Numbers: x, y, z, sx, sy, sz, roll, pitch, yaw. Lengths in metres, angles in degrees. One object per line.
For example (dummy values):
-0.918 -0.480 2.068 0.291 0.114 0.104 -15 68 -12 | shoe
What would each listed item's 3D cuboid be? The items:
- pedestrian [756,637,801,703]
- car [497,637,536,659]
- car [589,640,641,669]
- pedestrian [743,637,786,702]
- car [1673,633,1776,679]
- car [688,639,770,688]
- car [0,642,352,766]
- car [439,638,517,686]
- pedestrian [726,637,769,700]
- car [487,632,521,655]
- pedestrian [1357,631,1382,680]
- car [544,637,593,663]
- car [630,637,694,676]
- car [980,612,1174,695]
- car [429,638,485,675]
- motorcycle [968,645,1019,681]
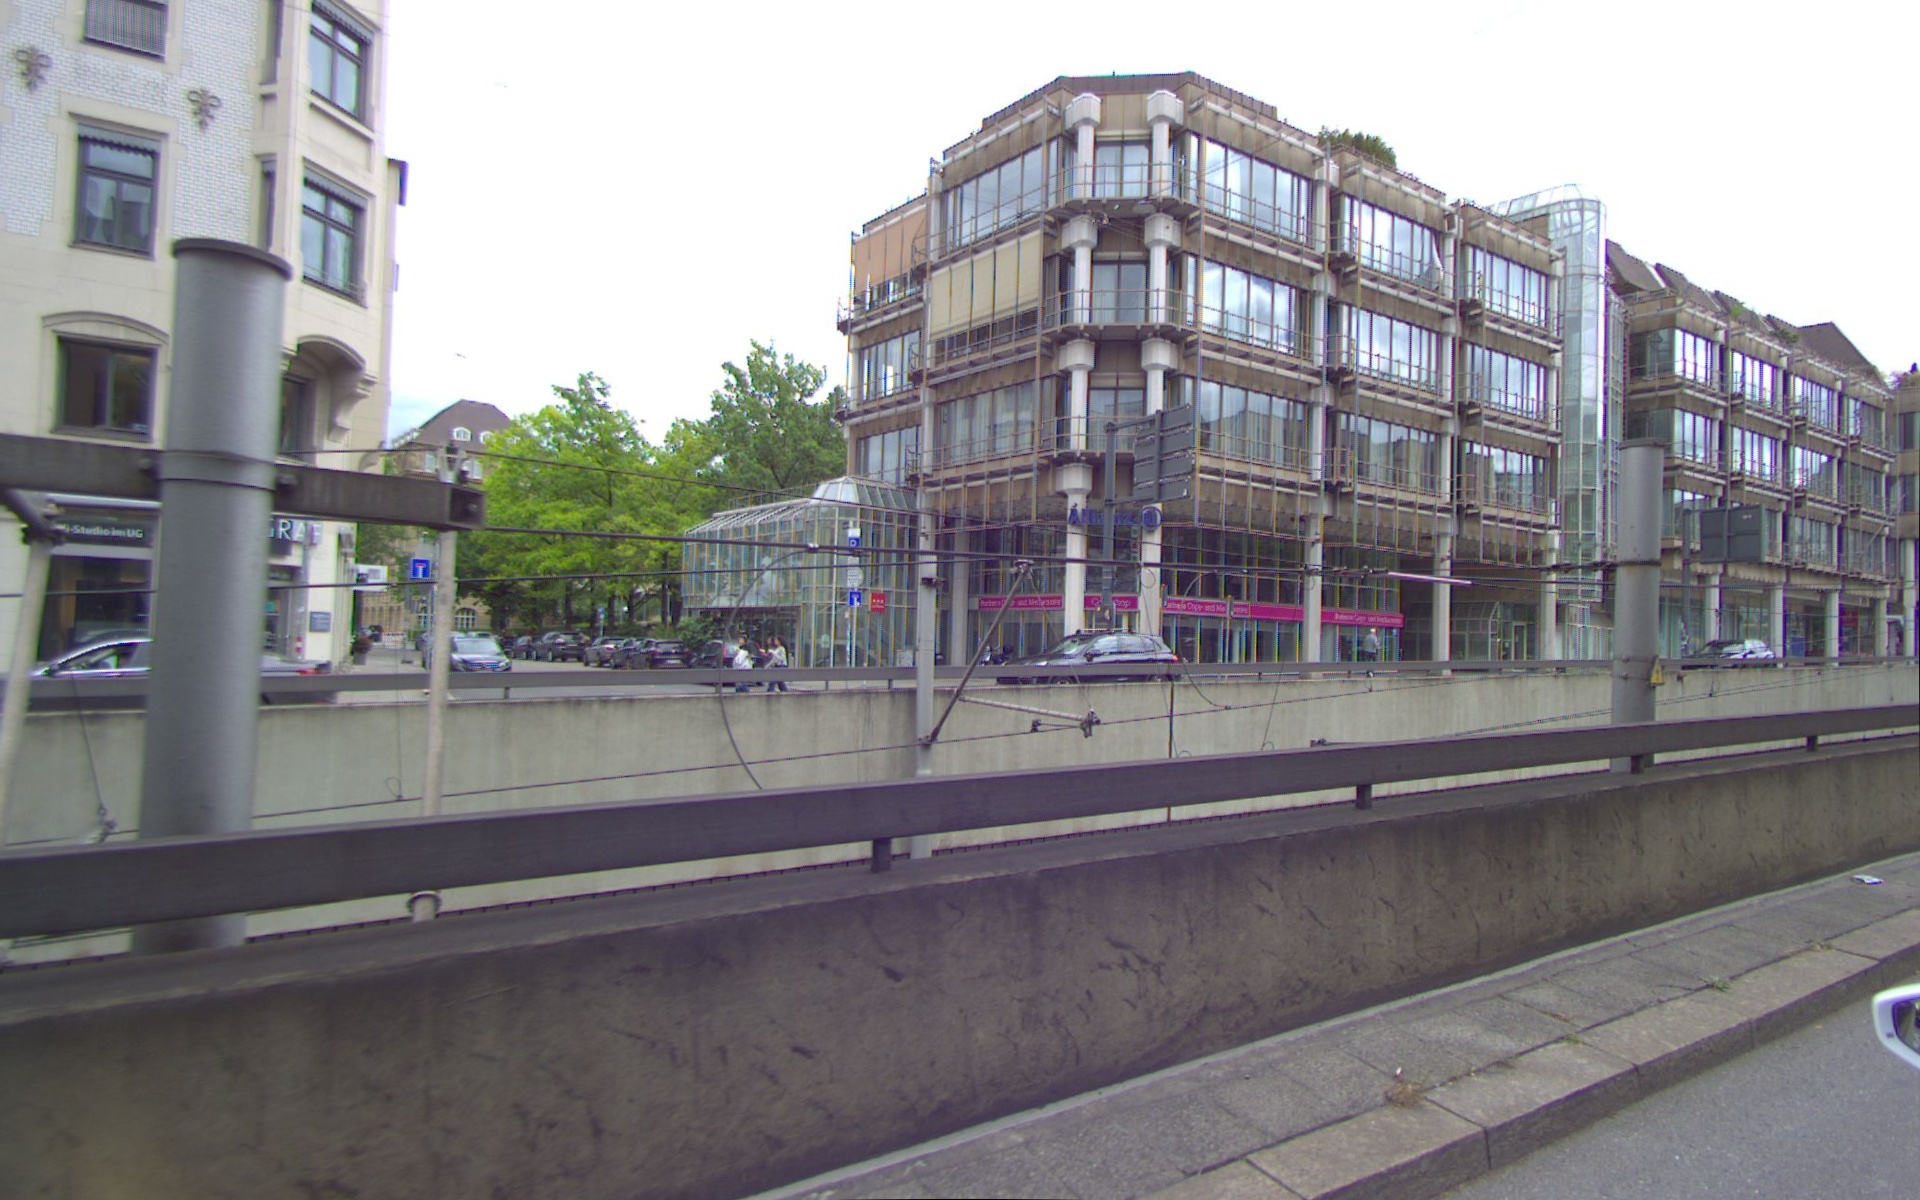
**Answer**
-4.416 1.686 24.407 0.840 1.564 0.694 2 -2 -38 | pedestrian
-29.249 3.163 66.208 1.902 1.360 3.986 1 -2 -31 | car
-16.359 2.558 47.547 1.631 1.261 3.428 1 -2 -31 | car
-4.860 1.707 24.968 0.840 1.564 0.694 2 -2 -38 | pedestrian
31.611 2.274 41.529 4.232 1.791 1.984 2 -2 -31 | car
-7.541 2.012 32.593 1.631 1.455 3.428 1 -2 -31 | car
-11.774 1.424 14.656 4.827 1.606 1.985 1 -2 -29 | car
-15.910 1.982 33.068 1.831 1.455 3.853 2 -2 -33 | car
-5.432 1.734 25.663 0.840 1.564 0.694 2 -2 -38 | pedestrian
-34.543 3.304 75.982 1.902 1.680 3.986 1 -2 -31 | car
15.309 2.065 37.558 0.686 1.816 0.530 1 -2 -30 | pedestrian
-22.191 2.800 56.841 1.902 1.360 3.986 1 -2 -31 | car
-11.830 2.189 39.746 1.631 1.455 3.428 1 -2 -31 | car
2.769 1.225 23.610 4.232 1.791 1.984 2 -2 -31 | car
-21.338 2.342 42.528 1.830 1.455 3.856 1 -2 -31 | car
1.265 2.342 37.368 1.925 1.273 0.784 2 -2 -44 | motorcycle
